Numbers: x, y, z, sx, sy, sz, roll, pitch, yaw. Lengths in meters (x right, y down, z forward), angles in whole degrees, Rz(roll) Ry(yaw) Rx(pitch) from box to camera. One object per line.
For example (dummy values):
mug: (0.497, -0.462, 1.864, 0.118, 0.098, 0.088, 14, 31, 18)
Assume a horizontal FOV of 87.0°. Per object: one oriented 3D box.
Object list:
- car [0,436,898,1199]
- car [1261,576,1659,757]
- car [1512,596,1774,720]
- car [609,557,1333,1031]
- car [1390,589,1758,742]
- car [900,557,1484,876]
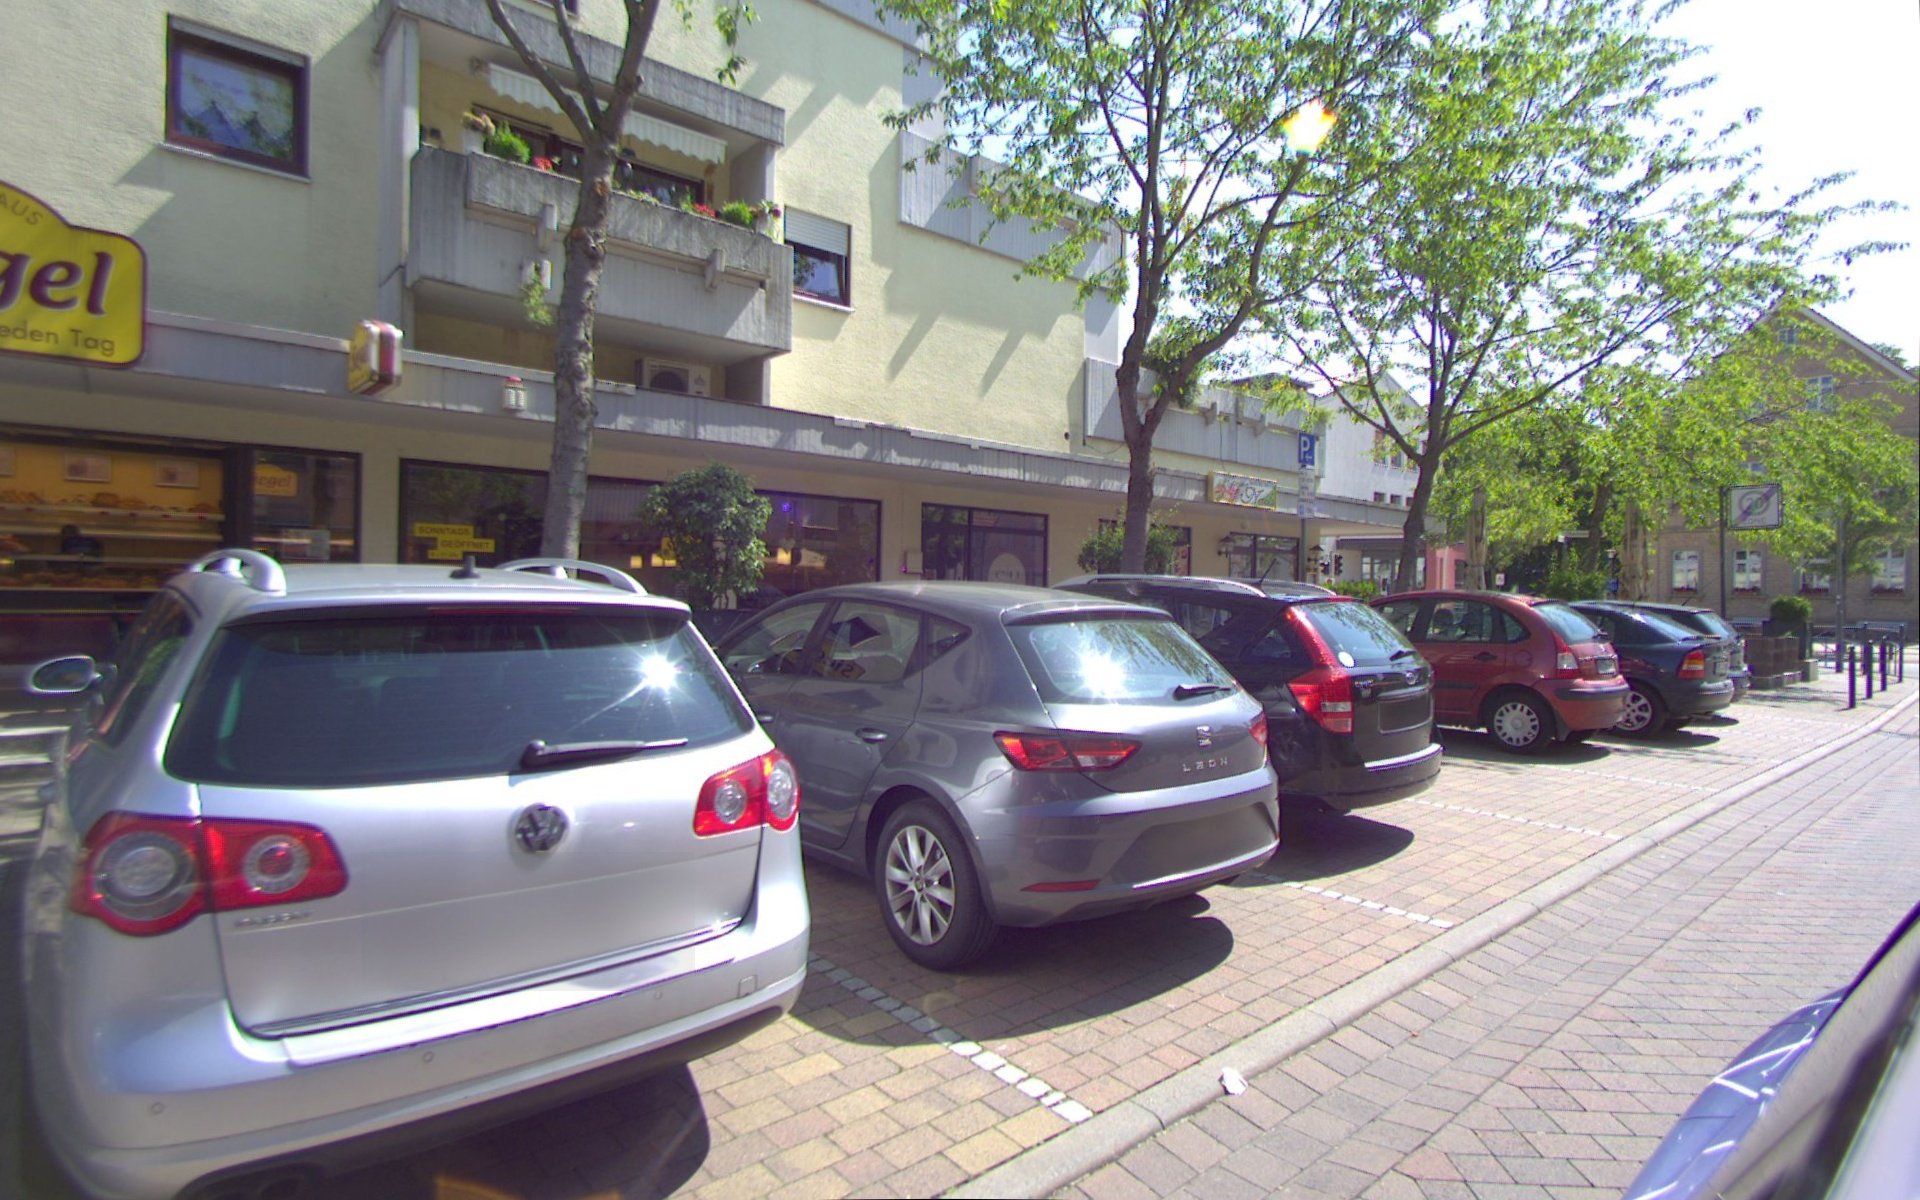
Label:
car: (-2.317, 0.486, 3.783, 1.775, 1.563, 4.584, 0, 1, -40)
car: (5.075, 0.553, 10.610, 1.493, 1.481, 3.400, 0, 2, -40)
car: (9.116, 0.691, 13.623, 1.246, 1.464, 2.701, 0, 0, -41)
car: (-0.284, 0.556, 5.174, 1.585, 1.449, 3.799, 0, 2, -40)
car: (7.086, 0.644, 11.932, 1.434, 1.407, 3.400, 0, 2, -40)
car: (1.338, 0.521, 6.947, 1.604, 1.536, 3.651, 0, 2, -40)
